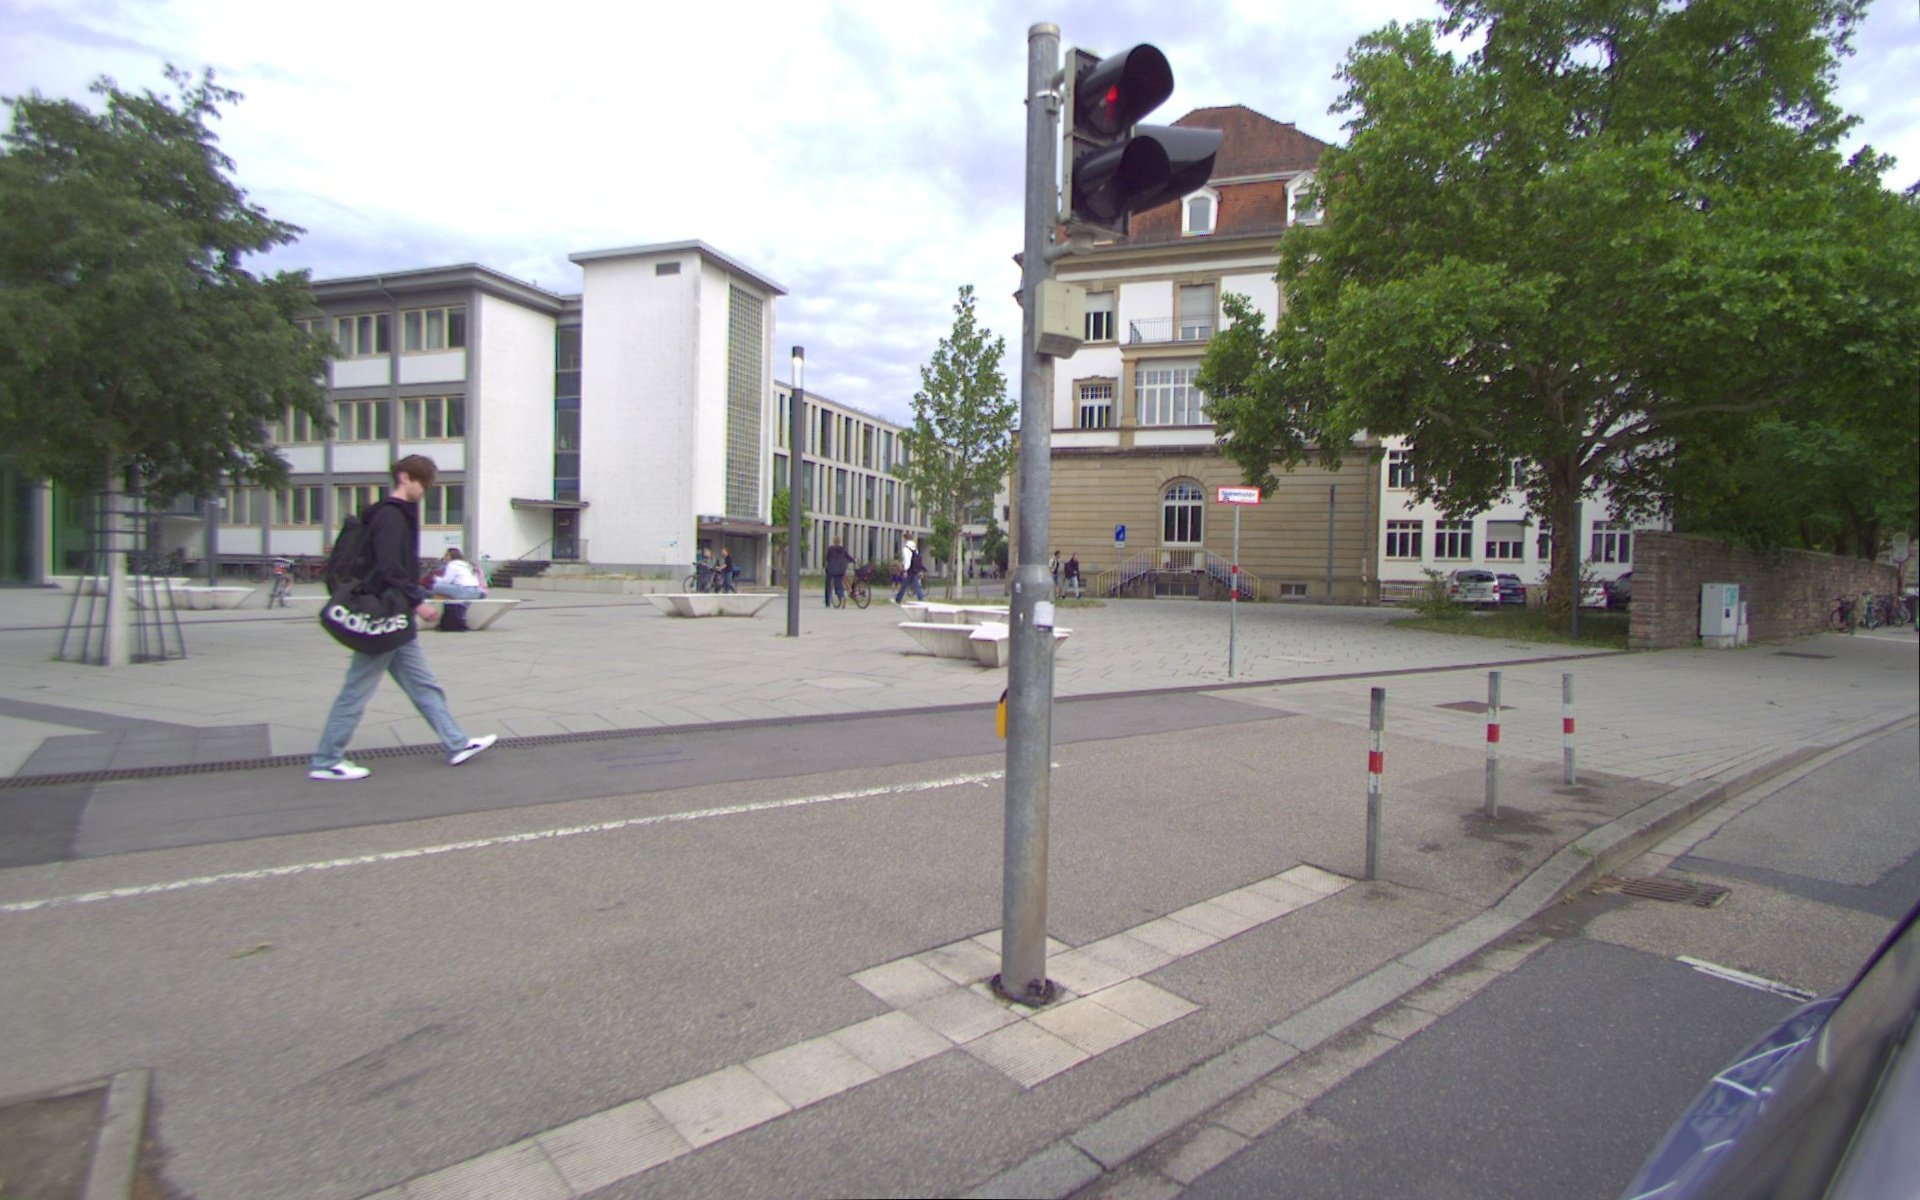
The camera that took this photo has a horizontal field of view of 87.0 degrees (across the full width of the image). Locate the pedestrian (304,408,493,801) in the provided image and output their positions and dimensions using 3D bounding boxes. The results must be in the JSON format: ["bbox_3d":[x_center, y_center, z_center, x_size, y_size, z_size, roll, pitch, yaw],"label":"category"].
[{"bbox_3d":[-3.255,0.010,5.844,0.877,2.038,0.845,0,2,-35],"label":"pedestrian"}]

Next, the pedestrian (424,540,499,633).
[{"bbox_3d":[-7.167,-0.191,14.538,0.861,1.273,0.912,0,0,-33],"label":"pedestrian"}]

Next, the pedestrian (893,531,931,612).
[{"bbox_3d":[-1.195,-0.714,25.203,0.650,1.983,0.679,2,2,35],"label":"pedestrian"}]

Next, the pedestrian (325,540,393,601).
[{"bbox_3d":[-8.508,-0.422,14.351,0.718,0.833,0.638,0,3,-21],"label":"pedestrian"}]

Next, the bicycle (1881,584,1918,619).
[{"bbox_3d":[32.654,0.046,35.192,0.382,1.158,1.924,0,0,26],"label":"bicycle"}]

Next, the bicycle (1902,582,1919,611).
[{"bbox_3d":[37.544,-0.139,39.788,2.046,1.089,0.478,-1,2,-40],"label":"bicycle"}]

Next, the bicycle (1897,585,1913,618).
[{"bbox_3d":[33.851,0.037,36.258,0.338,1.158,1.913,0,0,41],"label":"bicycle"}]

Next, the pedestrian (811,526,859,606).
[{"bbox_3d":[-3.033,-0.831,24.558,0.734,1.909,0.878,2,2,35],"label":"pedestrian"}]

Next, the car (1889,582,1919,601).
[{"bbox_3d":[97.381,-0.861,102.879,1.963,1.792,3.998,0,3,-38],"label":"car"}]

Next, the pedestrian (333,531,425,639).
[{"bbox_3d":[-7.839,-0.198,13.653,0.909,1.384,0.865,0,0,44],"label":"pedestrian"}]

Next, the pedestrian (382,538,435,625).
[{"bbox_3d":[-8.337,-0.276,15.314,0.631,1.295,0.649,0,0,-23],"label":"pedestrian"}]

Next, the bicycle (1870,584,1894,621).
[{"bbox_3d":[29.247,0.074,32.114,0.384,1.158,1.916,0,0,37],"label":"bicycle"}]

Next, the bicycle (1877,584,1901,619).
[{"bbox_3d":[31.479,0.055,34.302,0.384,1.158,1.916,0,0,37],"label":"bicycle"}]

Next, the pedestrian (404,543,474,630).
[{"bbox_3d":[-7.937,-0.198,15.412,0.861,1.273,0.912,0,0,-33],"label":"pedestrian"}]
